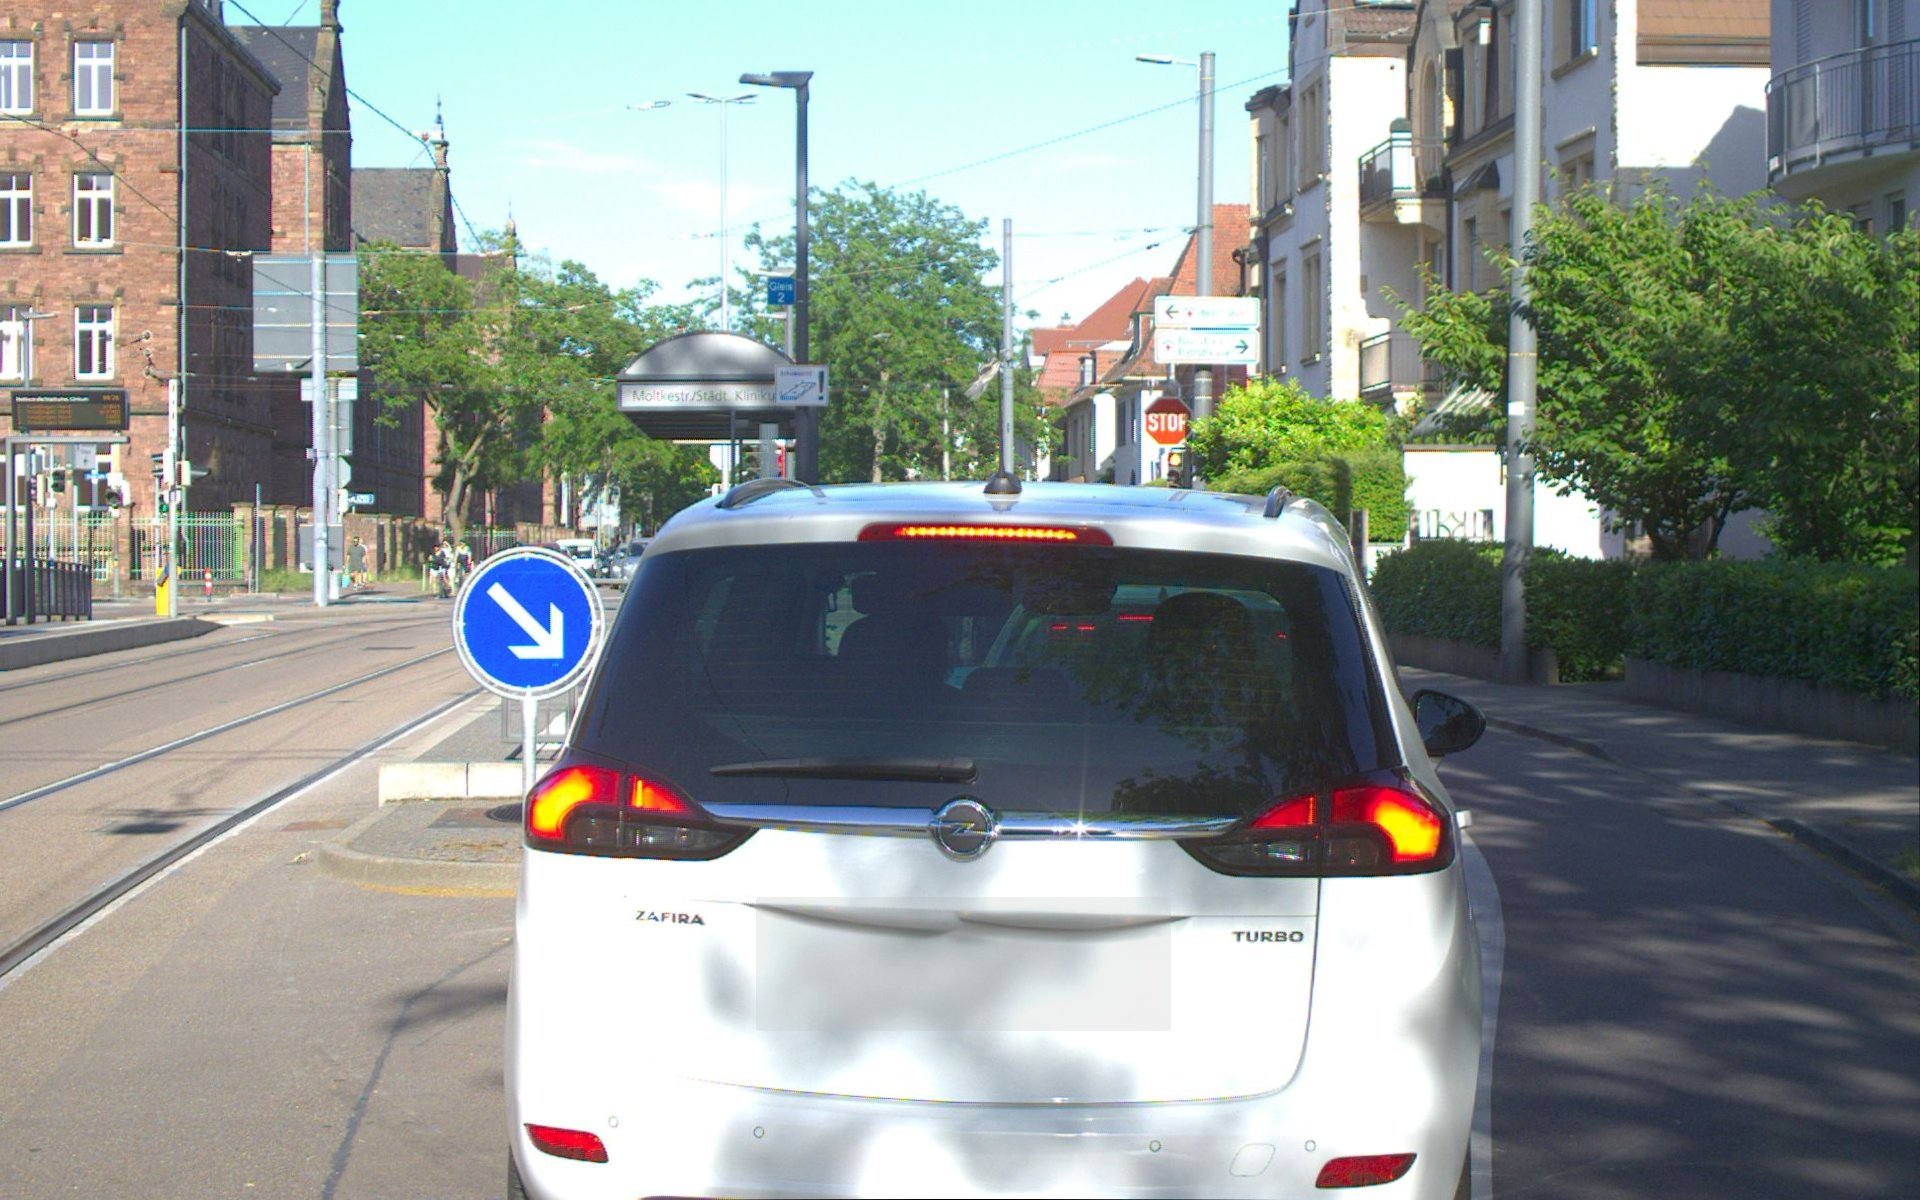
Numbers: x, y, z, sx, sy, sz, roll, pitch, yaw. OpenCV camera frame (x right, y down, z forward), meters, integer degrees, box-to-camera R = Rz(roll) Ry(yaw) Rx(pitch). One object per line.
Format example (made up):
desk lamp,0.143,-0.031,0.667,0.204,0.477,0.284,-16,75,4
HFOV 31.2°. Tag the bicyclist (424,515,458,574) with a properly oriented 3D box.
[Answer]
bicyclist,-15.535,-1.660,102.892,0.943,1.728,0.861,0,1,-3

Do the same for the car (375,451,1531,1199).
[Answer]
car,0.167,0.594,7.714,1.893,1.605,4.228,0,-1,5

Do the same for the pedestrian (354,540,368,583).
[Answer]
pedestrian,-19.732,-1.270,113.187,0.361,1.433,0.549,0,1,-1

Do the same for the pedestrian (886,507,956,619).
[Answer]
pedestrian,-0.718,-0.677,62.449,1.155,2.007,1.120,-1,1,-5

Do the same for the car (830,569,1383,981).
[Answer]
car,0.757,0.611,14.380,1.994,1.437,3.999,0,1,7

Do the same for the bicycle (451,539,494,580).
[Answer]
bicycle,-15.498,-1.298,109.309,1.148,1.292,2.861,0,1,-4

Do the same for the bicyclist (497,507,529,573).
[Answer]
bicyclist,-13.714,-1.839,105.483,0.950,2.007,0.824,0,1,-6

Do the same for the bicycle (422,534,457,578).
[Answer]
bicycle,-15.532,-1.330,102.609,0.821,1.292,2.678,0,1,-4

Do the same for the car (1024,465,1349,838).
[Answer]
car,1.439,0.248,20.517,1.709,2.007,3.905,0,1,7

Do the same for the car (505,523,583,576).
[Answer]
car,-13.743,-1.675,113.730,1.993,1.716,4.000,0,1,2

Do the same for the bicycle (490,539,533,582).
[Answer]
bicycle,-13.746,-1.221,105.495,1.148,1.292,2.861,0,1,-4

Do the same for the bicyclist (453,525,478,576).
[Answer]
bicyclist,-15.688,-1.577,109.054,0.702,1.601,0.657,0,1,-3

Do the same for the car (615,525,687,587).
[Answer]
car,-9.619,-1.369,107.258,1.993,1.907,4.000,0,0,-2
